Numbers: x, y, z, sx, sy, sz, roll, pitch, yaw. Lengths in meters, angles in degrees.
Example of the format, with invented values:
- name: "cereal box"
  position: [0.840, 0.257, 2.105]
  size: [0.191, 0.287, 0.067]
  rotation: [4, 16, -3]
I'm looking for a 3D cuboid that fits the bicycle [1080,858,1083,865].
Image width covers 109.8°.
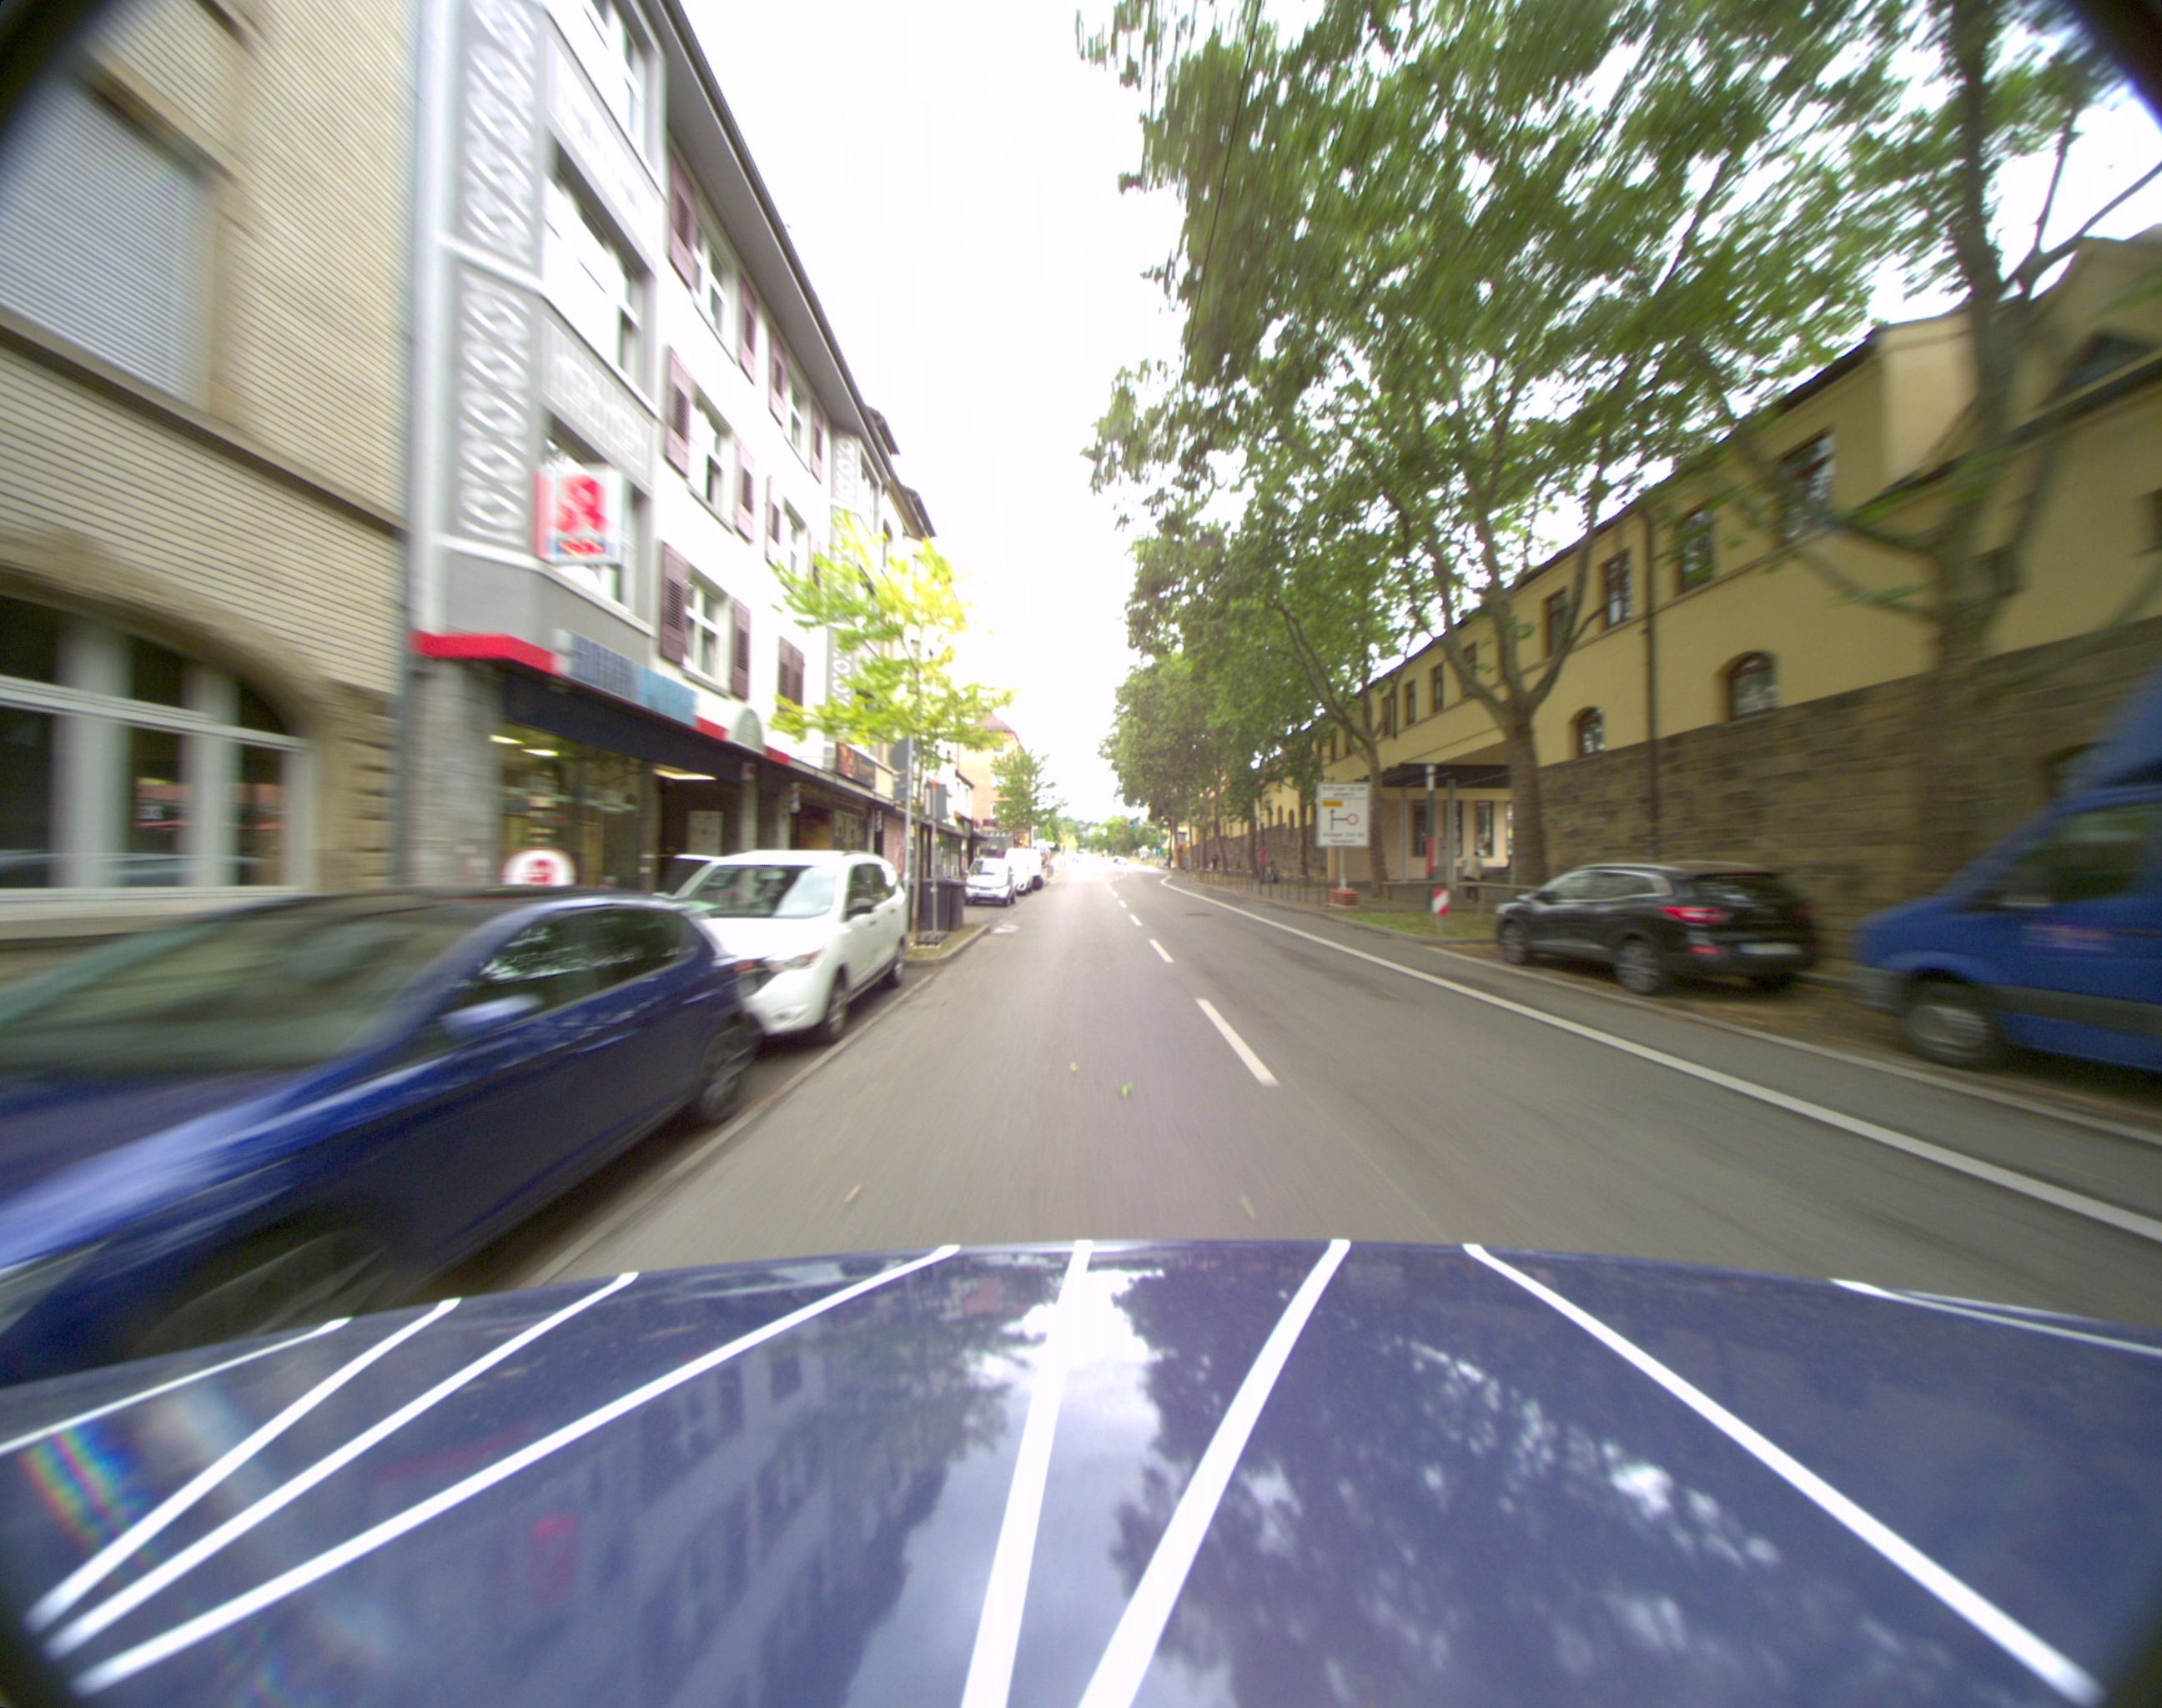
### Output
- name: "bicycle"
  position: [0.060, 1.042, 105.293]
  size: [0.368, 0.986, 1.720]
  rotation: [0, 1, -3]

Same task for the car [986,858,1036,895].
- name: "car"
  position: [-2.905, 0.904, 32.272]
  size: [1.687, 1.407, 4.041]
  rotation: [1, 0, 0]

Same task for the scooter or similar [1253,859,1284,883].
- name: "scooter or similar"
  position: [10.066, 0.906, 40.714]
  size: [1.622, 1.233, 0.446]
  rotation: [-2, 1, -22]

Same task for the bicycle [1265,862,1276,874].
- name: "bicycle"
  position: [13.050, 0.954, 52.324]
  size: [0.336, 0.841, 1.776]
  rotation: [0, 0, 1]

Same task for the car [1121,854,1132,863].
- name: "car"
  position: [9.116, 0.925, 151.640]
  size: [1.919, 1.640, 3.635]
  rotation: [-2, 1, 8]

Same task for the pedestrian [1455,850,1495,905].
- name: "pedestrian"
  position: [12.507, 0.729, 24.132]
  size: [0.863, 1.678, 0.927]
  rotation: [-2, 1, 10]

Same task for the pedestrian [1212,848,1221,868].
- name: "pedestrian"
  position: [12.768, 0.339, 71.562]
  size: [0.673, 1.865, 0.816]
  rotation: [0, 1, 2]

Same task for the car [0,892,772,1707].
- name: "car"
  position: [-2.908, 0.984, 3.019]
  size: [1.610, 1.389, 4.275]
  rotation: [2, 0, 0]

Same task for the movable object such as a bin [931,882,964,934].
- name: "movable object such as a bin"
  position: [-2.727, 1.094, 15.578]
  size: [0.624, 1.018, 0.696]
  rotation: [0, 0, -7]

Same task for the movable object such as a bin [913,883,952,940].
- name: "movable object such as a bin"
  position: [-2.826, 1.091, 14.538]
  size: [0.623, 1.018, 0.696]
  rotation: [0, 1, -2]

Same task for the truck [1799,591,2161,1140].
- name: "truck"
  position: [7.796, 0.053, 3.399]
  size: [2.221, 3.396, 7.246]
  rotation: [-2, 0, 0]

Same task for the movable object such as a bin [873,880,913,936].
- name: "movable object such as a bin"
  position: [-3.588, 1.018, 14.533]
  size: [0.578, 1.018, 0.624]
  rotation: [0, 1, 1]

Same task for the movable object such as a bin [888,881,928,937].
- name: "movable object such as a bin"
  position: [-3.470, 1.098, 15.262]
  size: [0.697, 1.067, 0.623]
  rotation: [2, 0, -9]

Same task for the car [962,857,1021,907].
- name: "car"
  position: [-2.941, 0.879, 25.565]
  size: [1.485, 1.525, 3.522]
  rotation: [1, 0, 1]

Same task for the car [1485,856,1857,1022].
- name: "car"
  position: [7.545, 0.930, 10.371]
  size: [1.735, 1.679, 4.252]
  rotation: [-2, 1, 0]

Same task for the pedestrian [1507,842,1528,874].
- name: "pedestrian"
  position: [20.690, 0.181, 36.038]
  size: [0.575, 1.480, 0.760]
  rotation: [-2, 2, 2]

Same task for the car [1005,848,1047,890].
- name: "car"
  position: [-2.683, 0.677, 37.793]
  size: [1.911, 1.919, 4.919]
  rotation: [1, 0, -3]

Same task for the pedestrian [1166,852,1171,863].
- name: "pedestrian"
  position: [12.357, 0.496, 107.662]
  size: [0.625, 1.653, 0.549]
  rotation: [-2, 1, 2]

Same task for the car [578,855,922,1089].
- name: "car"
  position: [-2.877, 0.870, 7.800]
  size: [1.683, 1.653, 4.542]
  rotation: [2, 0, -2]

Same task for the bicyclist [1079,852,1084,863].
- name: "bicyclist"
  position: [0.036, 0.485, 105.331]
  size: [0.682, 1.619, 0.750]
  rotation: [0, 1, -3]

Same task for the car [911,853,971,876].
- name: "car"
  position: [-9.949, 0.720, 54.113]
  size: [3.875, 1.442, 1.706]
  rotation: [-3, 1, 26]
